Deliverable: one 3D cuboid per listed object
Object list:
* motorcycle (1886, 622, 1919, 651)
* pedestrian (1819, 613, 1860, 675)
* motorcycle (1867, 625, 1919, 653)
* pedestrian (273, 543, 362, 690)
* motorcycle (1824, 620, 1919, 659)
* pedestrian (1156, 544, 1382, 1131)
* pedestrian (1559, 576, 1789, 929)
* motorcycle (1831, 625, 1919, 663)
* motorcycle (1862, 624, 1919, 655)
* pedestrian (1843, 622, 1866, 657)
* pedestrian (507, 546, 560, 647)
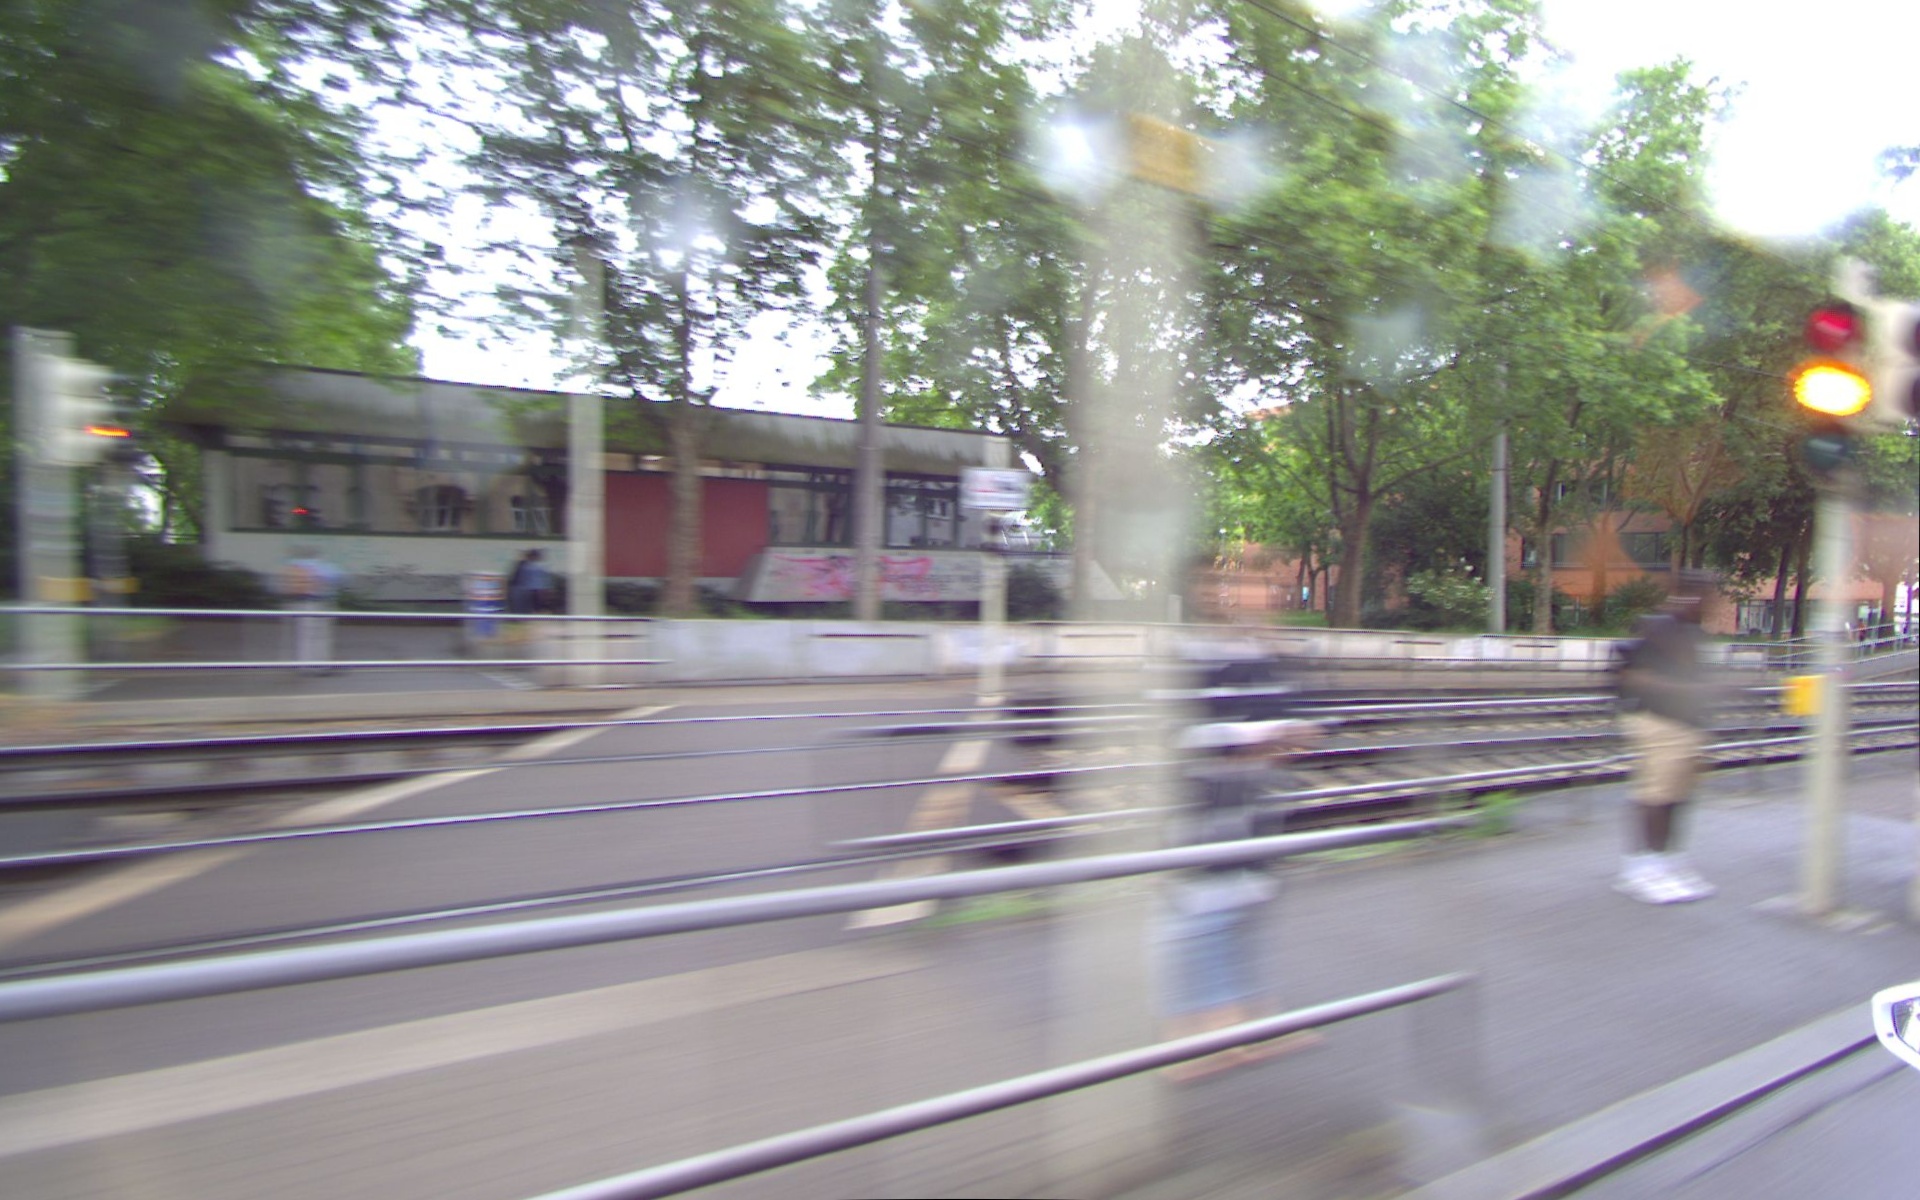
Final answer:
[{"bbox_3d":[56.262,2.178,58.626,0.995,1.649,3.042,2,1,-31],"label":"motorcycle"},{"bbox_3d":[25.171,1.244,28.750,0.679,1.686,0.654,-1,3,-30],"label":"pedestrian"},{"bbox_3d":[55.220,2.302,58.168,0.995,1.507,3.843,2,1,-31],"label":"motorcycle"},{"bbox_3d":[-8.342,0.200,13.081,0.851,1.823,0.865,1,2,-27],"label":"pedestrian"},{"bbox_3d":[49.506,2.119,54.469,0.995,1.797,3.843,2,1,-31],"label":"motorcycle"},{"bbox_3d":[0.960,0.668,3.140,0.477,1.661,0.429,0,2,-37],"label":"pedestrian"},{"bbox_3d":[3.708,0.750,5.263,0.649,1.727,0.652,2,1,-7],"label":"pedestrian"},{"bbox_3d":[50.685,2.410,55.403,0.995,1.840,3.843,2,1,-31],"label":"motorcycle"},{"bbox_3d":[53.709,2.263,56.822,0.995,1.627,3.843,2,1,-31],"label":"motorcycle"},{"bbox_3d":[52.534,2.310,58.989,0.969,2.040,0.729,2,1,-32],"label":"pedestrian"},{"bbox_3d":[-7.940,-0.074,18.689,0.850,1.823,0.866,1,2,-24],"label":"pedestrian"}]
